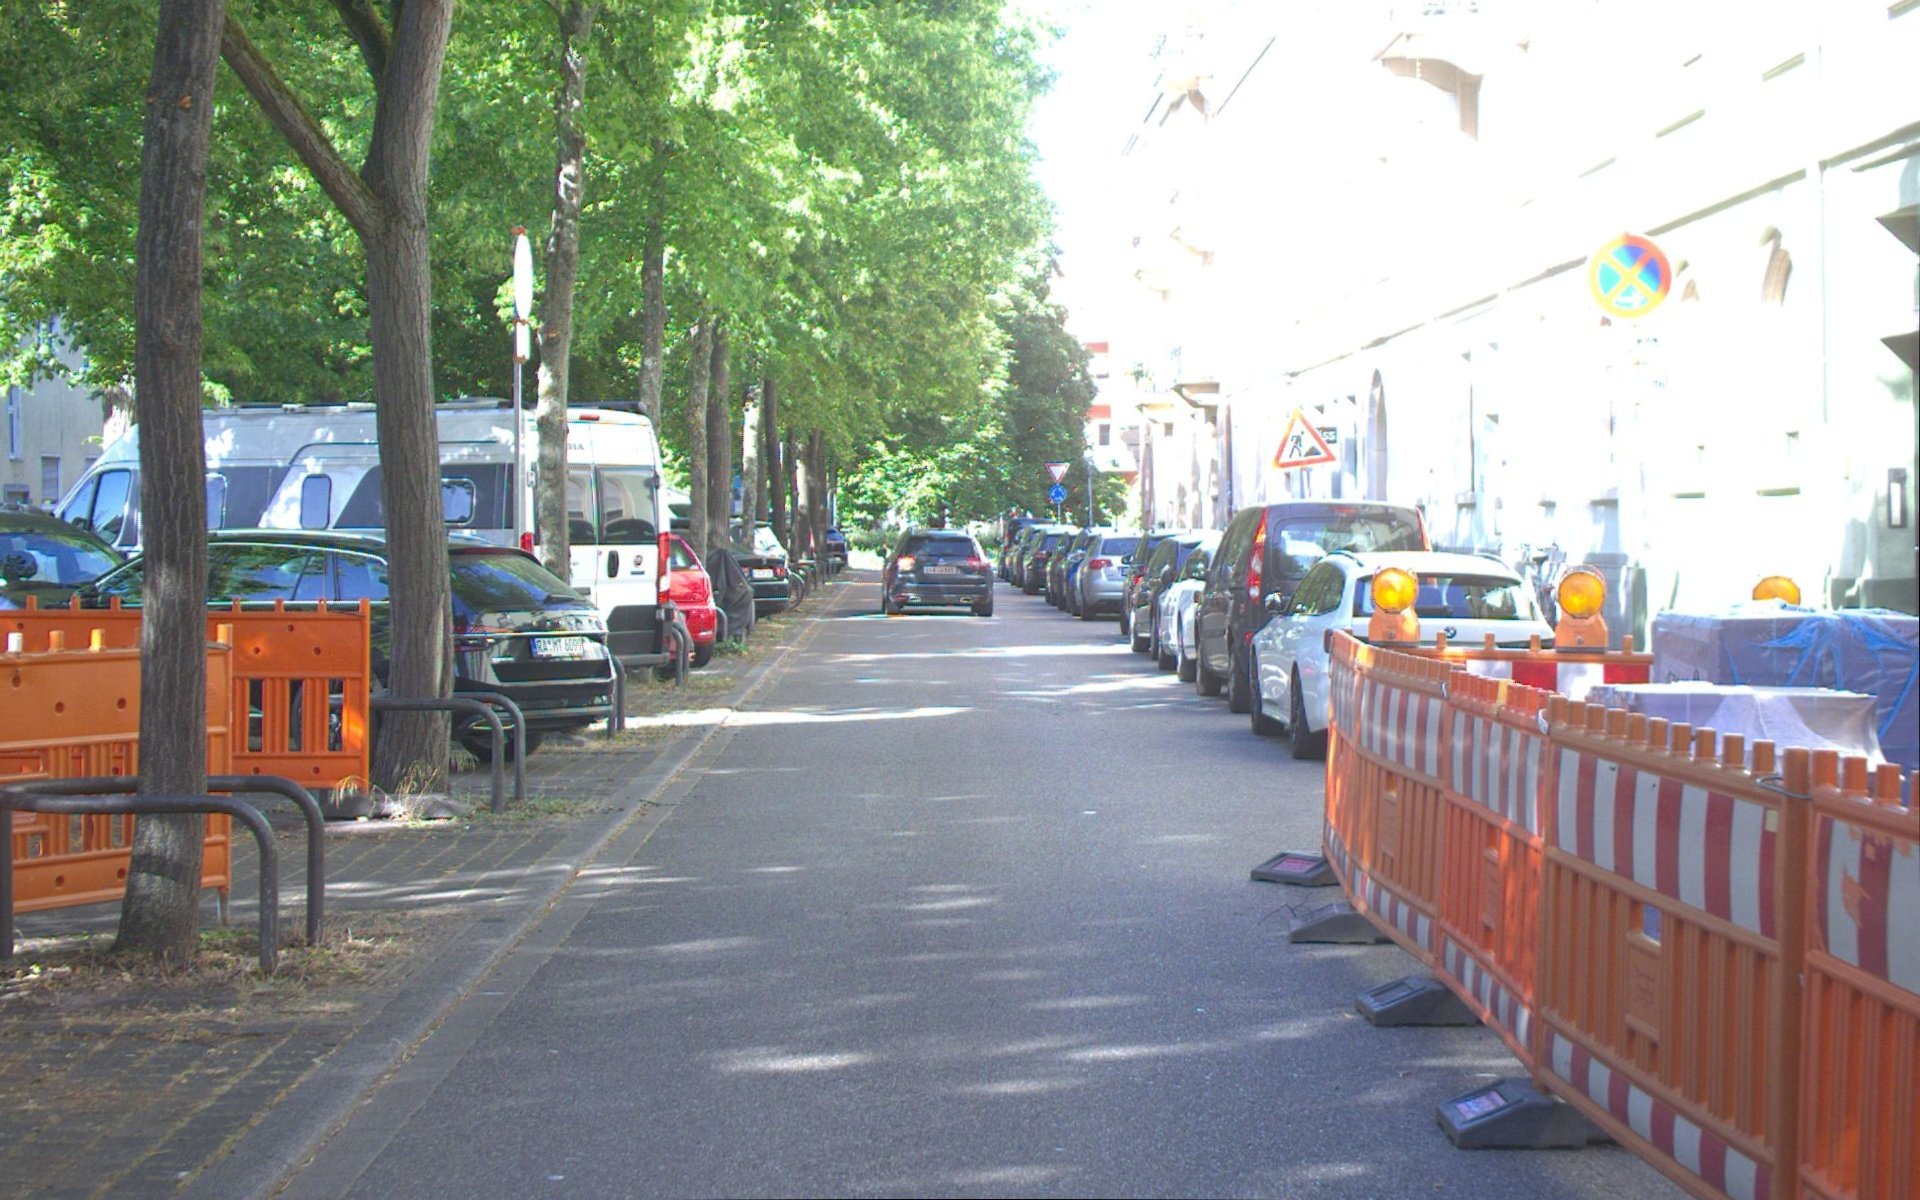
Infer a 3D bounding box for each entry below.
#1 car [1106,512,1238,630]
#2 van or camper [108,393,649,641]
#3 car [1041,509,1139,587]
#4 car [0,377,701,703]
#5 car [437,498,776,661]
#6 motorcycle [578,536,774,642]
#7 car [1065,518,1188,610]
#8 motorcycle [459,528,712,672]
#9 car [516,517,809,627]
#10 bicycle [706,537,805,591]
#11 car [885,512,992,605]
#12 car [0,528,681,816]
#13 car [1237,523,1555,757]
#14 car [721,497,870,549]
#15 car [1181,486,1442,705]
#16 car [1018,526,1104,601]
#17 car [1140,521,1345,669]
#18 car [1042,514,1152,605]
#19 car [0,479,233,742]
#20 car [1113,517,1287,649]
[{"bbox_3d":[2.871,-0.431,47.183,1.580,1.545,4.042,0,1,0],"label":"car"},{"bbox_3d":[-7.074,-1.024,41.604,6.296,2.815,2.404,1,1,28],"label":"van or camper"},{"bbox_3d":[2.498,-1.024,66.946,1.692,1.463,4.005,0,1,-1],"label":"car"},{"bbox_3d":[-5.480,-0.518,29.600,6.319,2.550,2.334,1,1,32],"label":"car"},{"bbox_3d":[-3.819,-0.227,36.729,1.659,1.612,3.879,-3,2,-40],"label":"car"},{"bbox_3d":[-3.326,-0.136,40.341,2.148,1.225,0.881,0,1,8],"label":"motorcycle"},{"bbox_3d":[2.717,-0.630,56.952,1.769,1.426,4.291,-1,1,0],"label":"car"},{"bbox_3d":[-3.560,-0.006,32.581,2.318,1.330,0.969,0,1,-10],"label":"motorcycle"},{"bbox_3d":[-4.271,-0.390,49.135,4.015,1.469,1.623,-1,2,35],"label":"car"},{"bbox_3d":[-3.877,-0.684,65.140,1.812,0.990,0.425,0,1,15],"label":"bicycle"},{"bbox_3d":[-0.338,-0.737,58.802,1.714,1.478,4.145,-2,2,1],"label":"car"},{"bbox_3d":[-4.024,0.475,22.148,4.093,1.520,1.699,-5,-1,29],"label":"car"},{"bbox_3d":[3.067,0.217,24.965,1.704,1.506,4.284,-1,1,0],"label":"car"},{"bbox_3d":[-4.814,-2.234,100.202,4.087,1.461,1.867,1,0,-11],"label":"car"},{"bbox_3d":[3.054,-0.088,30.605,1.771,1.787,3.990,-1,1,-2],"label":"car"},{"bbox_3d":[2.242,-0.850,77.151,1.805,1.558,4.321,-2,2,1],"label":"car"},{"bbox_3d":[2.892,-0.103,36.032,1.607,1.415,4.569,-1,1,-2],"label":"car"},{"bbox_3d":[2.443,-0.761,62.155,1.767,1.546,4.184,-1,1,0],"label":"car"},{"bbox_3d":[-7.900,0.040,27.238,4.381,1.908,1.995,0,2,43],"label":"car"},{"bbox_3d":[2.866,-0.242,41.675,1.599,1.487,3.967,-1,1,-3],"label":"car"}]
